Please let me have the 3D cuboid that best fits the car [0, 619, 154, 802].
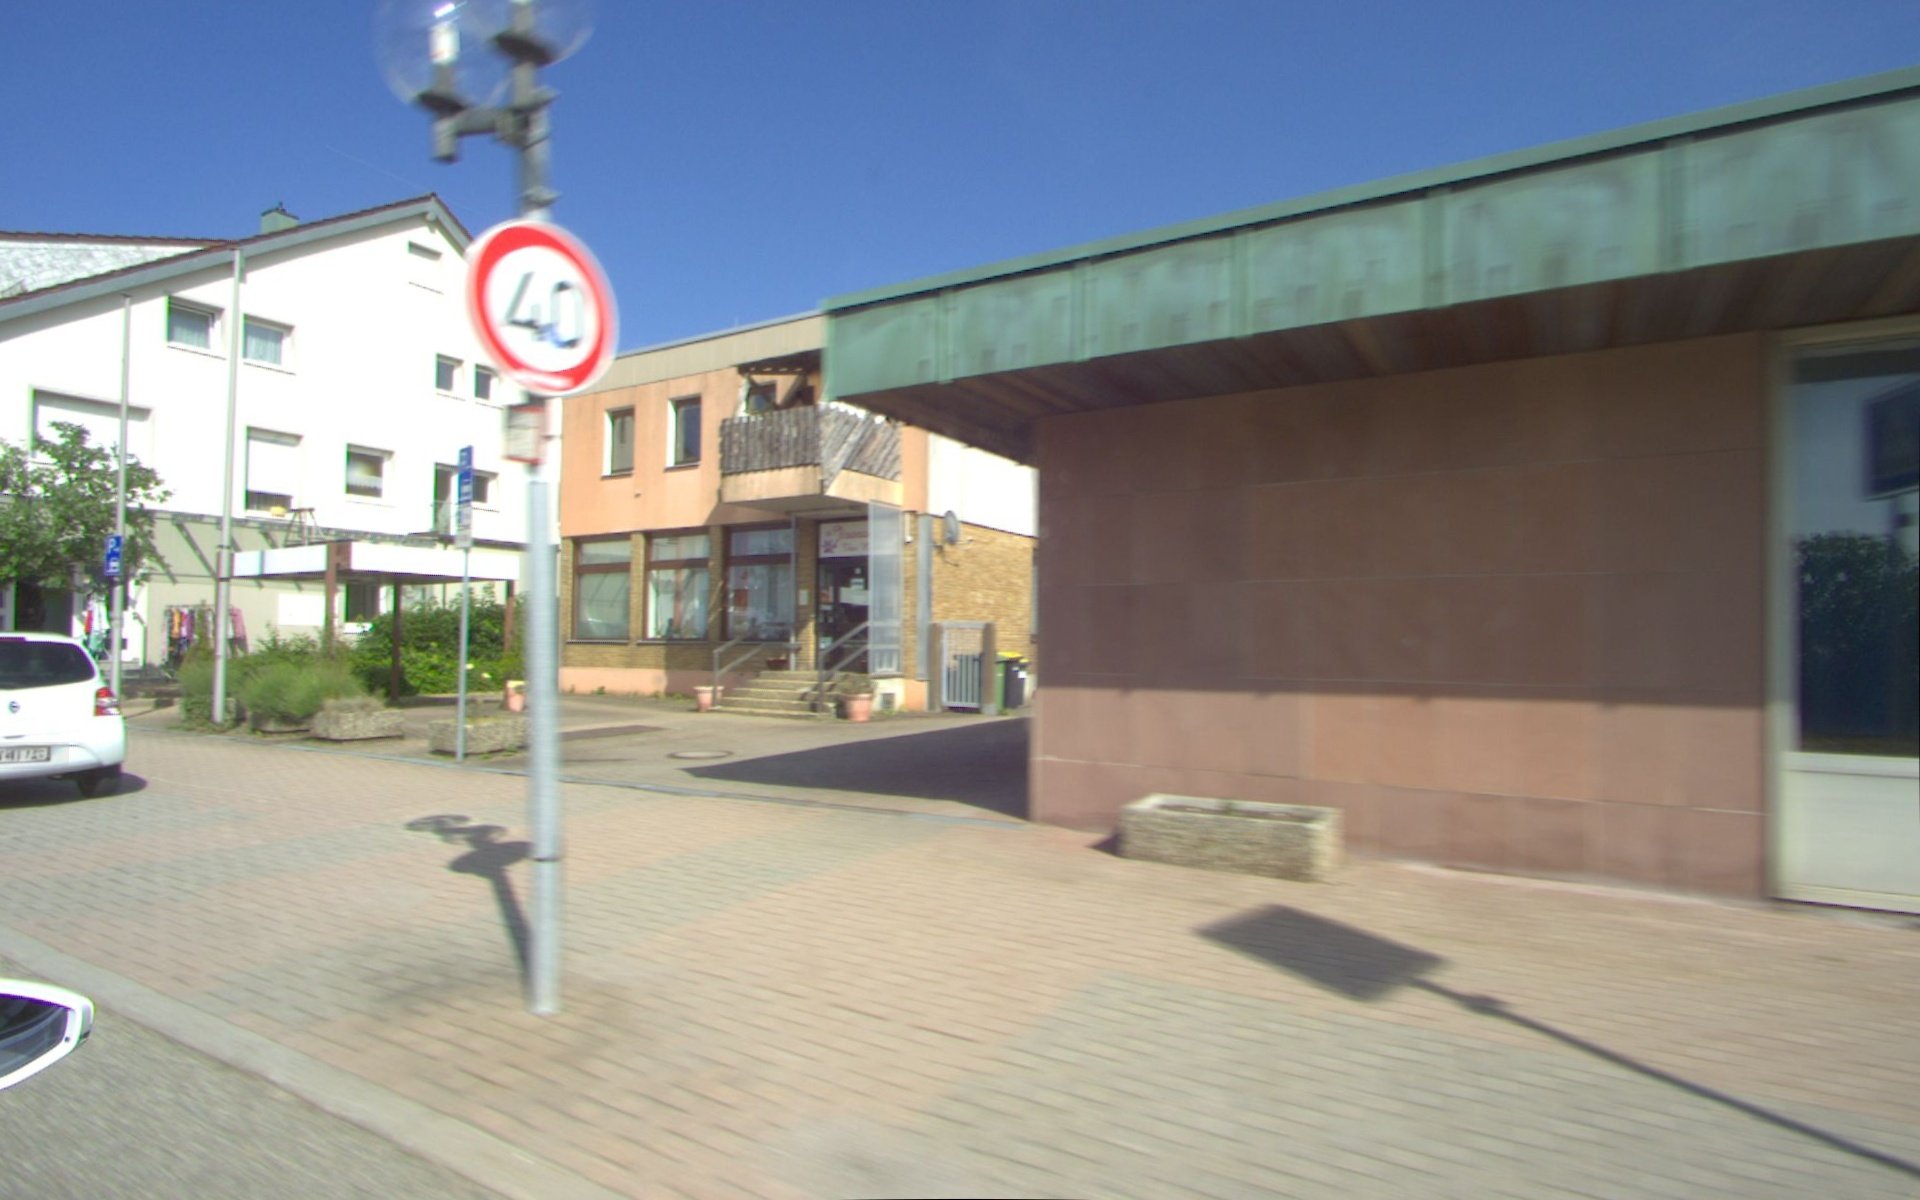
[{"bbox_3d":[-9.127,0.915,9.044,3.581,1.442,1.757,-1,0,31],"label":"car"}]
